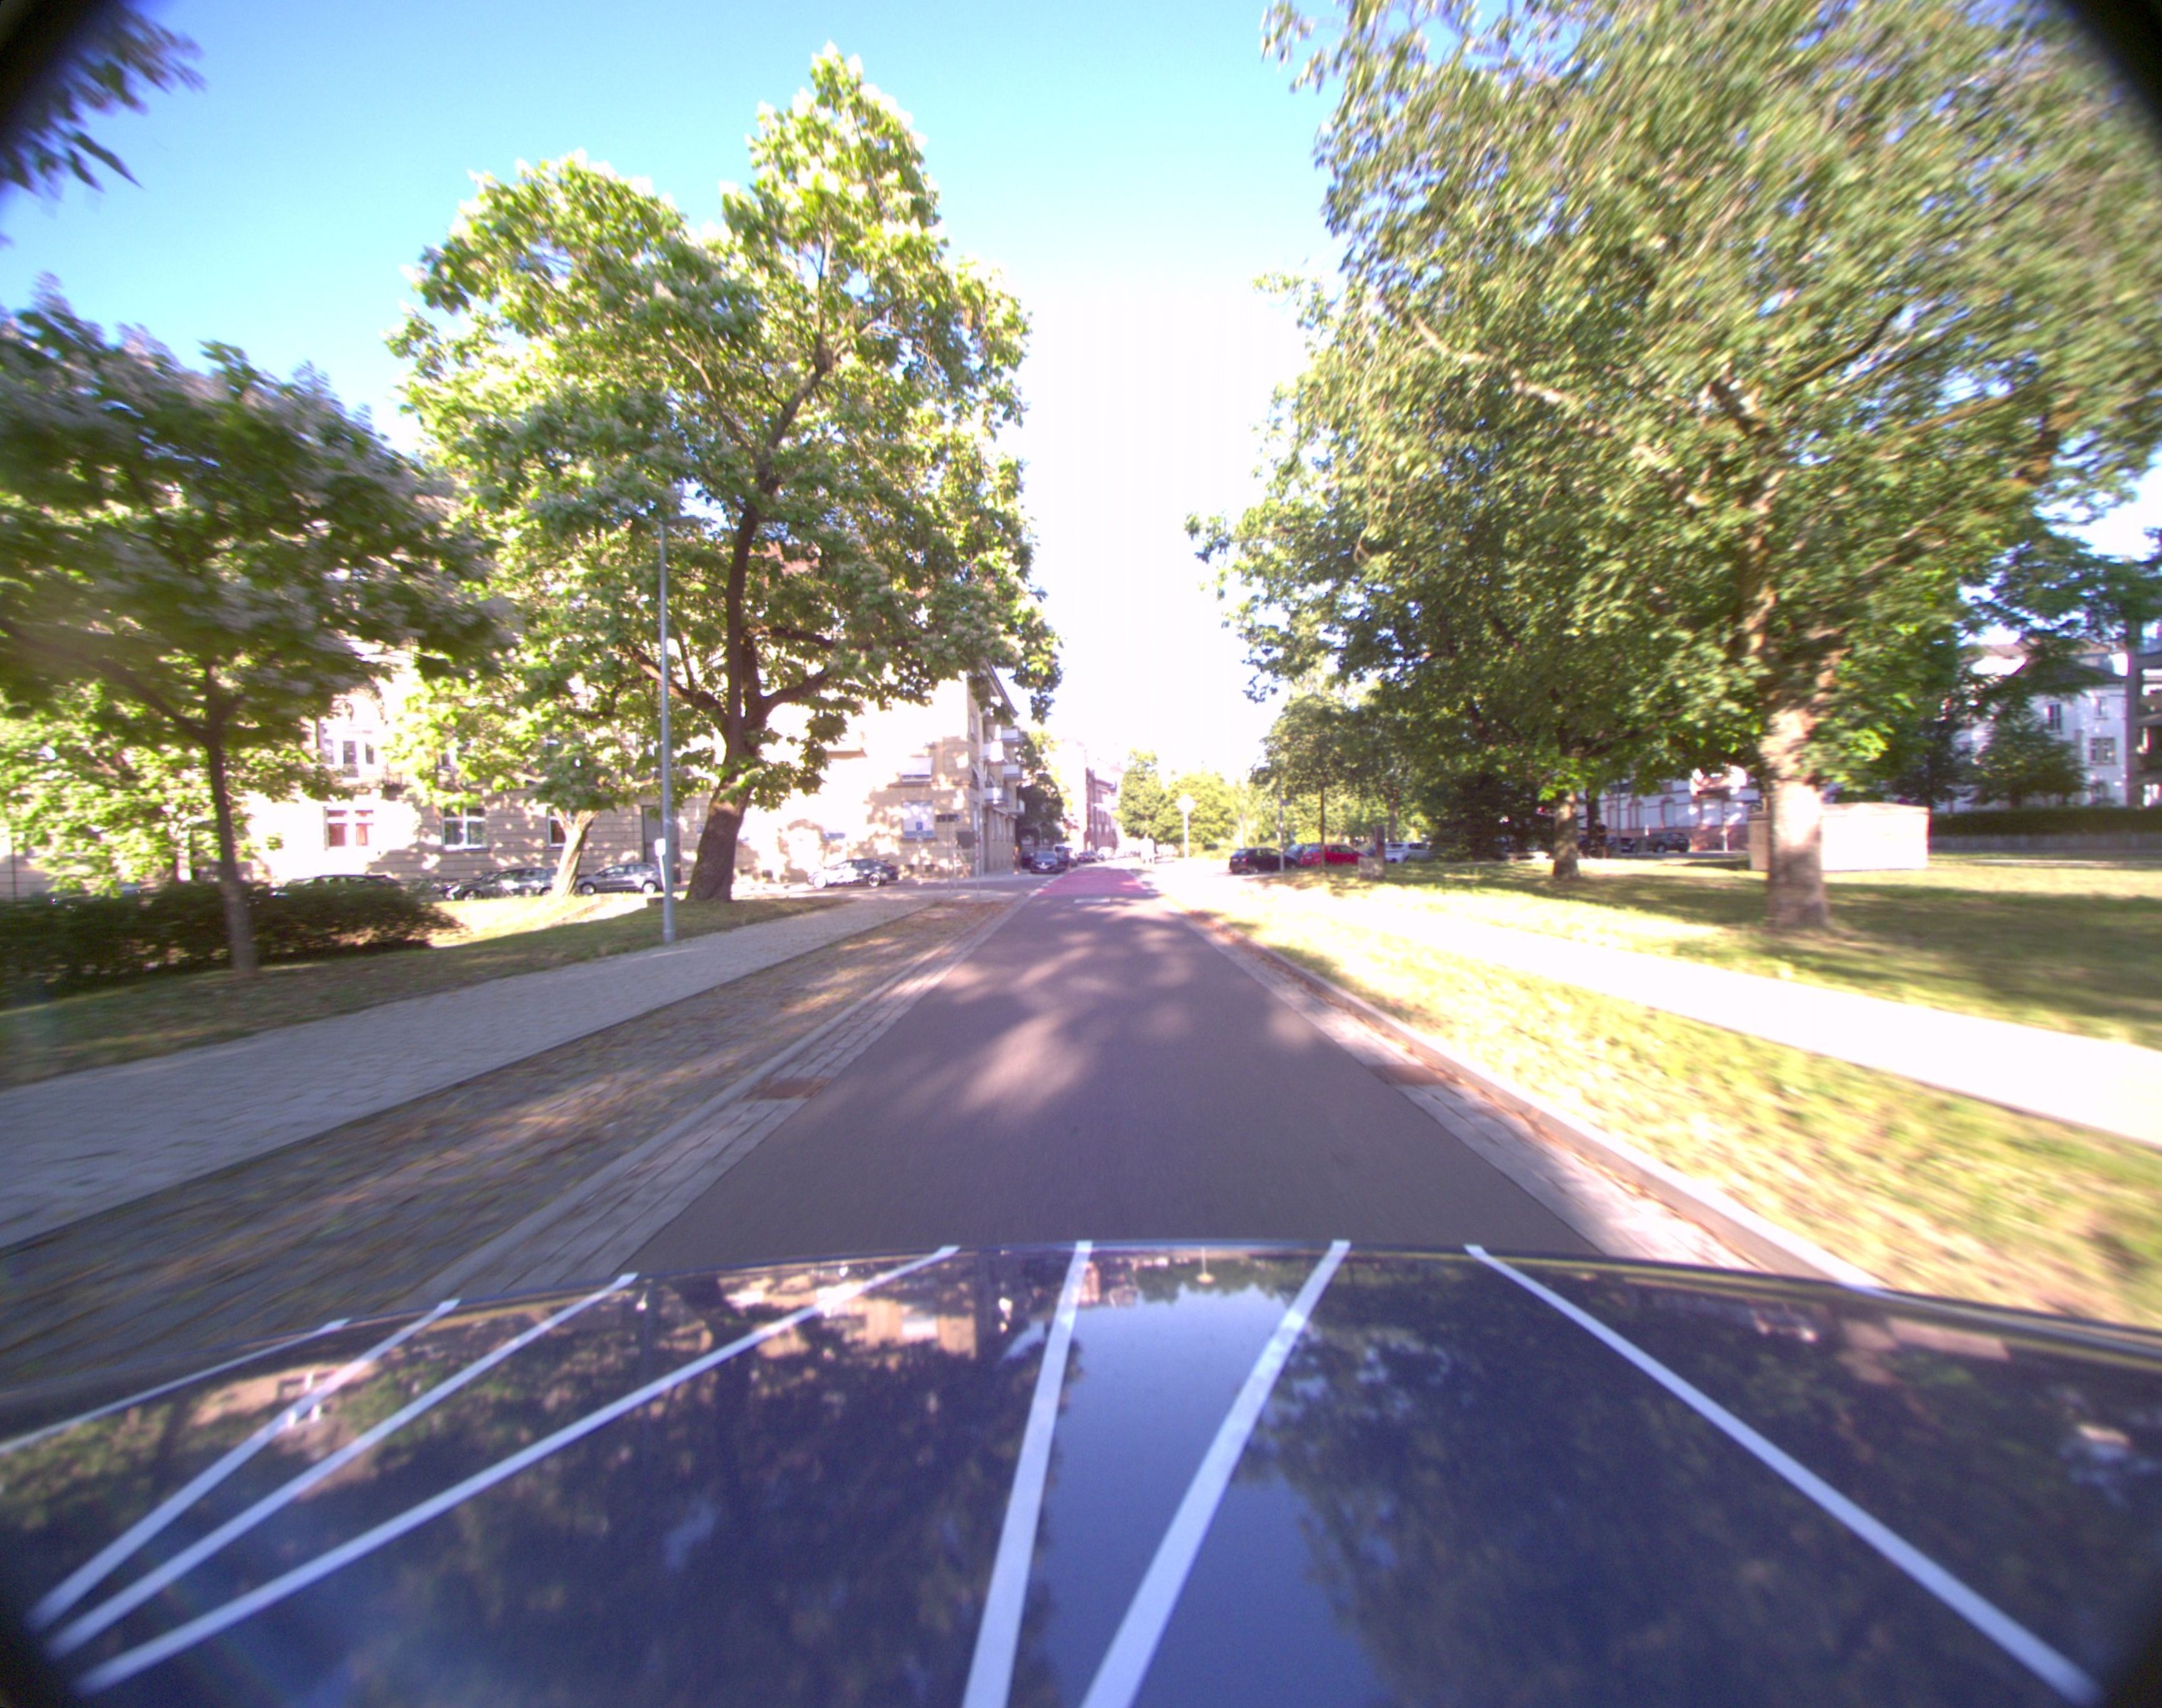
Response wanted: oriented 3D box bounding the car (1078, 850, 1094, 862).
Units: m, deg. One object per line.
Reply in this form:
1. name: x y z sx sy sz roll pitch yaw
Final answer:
1. car: 0.604 0.269 96.088 1.610 1.349 3.549 -1 1 7

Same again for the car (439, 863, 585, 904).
1. car: -23.165 1.182 31.153 4.370 1.409 1.842 -2 1 -19

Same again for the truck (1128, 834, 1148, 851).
1. truck: 12.159 -2.461 160.675 3.017 3.423 7.629 -1 1 13

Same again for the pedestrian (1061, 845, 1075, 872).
1. pedestrian: -0.891 0.290 51.967 0.778 1.759 0.955 -2 1 2

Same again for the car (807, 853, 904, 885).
1. car: -11.523 0.749 39.099 4.452 1.411 1.934 -1 1 -4

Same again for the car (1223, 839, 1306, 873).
1. car: 9.790 0.085 40.546 4.004 1.565 1.886 -3 3 -24

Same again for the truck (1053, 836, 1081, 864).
1. truck: -1.263 -0.436 72.898 2.133 2.549 6.877 -1 1 3

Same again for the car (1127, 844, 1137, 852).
1. car: 10.161 -1.127 151.193 1.582 1.499 3.848 -1 1 8

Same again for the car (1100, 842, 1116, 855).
1. car: 4.487 -0.877 124.441 2.118 1.942 4.763 -1 1 8

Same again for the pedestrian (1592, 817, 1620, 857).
1. pedestrian: 22.476 -0.714 32.542 0.664 1.686 0.672 -3 1 -8

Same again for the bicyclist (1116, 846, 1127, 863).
1. bicyclist: 4.230 0.016 79.133 0.939 1.693 0.906 -2 1 7

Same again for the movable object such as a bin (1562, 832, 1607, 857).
1. movable object such as a bin: 21.471 -0.407 32.415 1.333 0.984 0.949 -2 1 -9

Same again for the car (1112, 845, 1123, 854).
1. car: 6.511 -0.831 133.486 1.582 1.499 3.848 -1 1 8

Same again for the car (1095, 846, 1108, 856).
1. car: 3.005 -0.451 112.037 1.509 1.438 3.731 -1 1 7

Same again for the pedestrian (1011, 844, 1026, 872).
1. pedestrian: -4.281 0.267 51.812 0.733 1.820 0.555 -3 1 -35

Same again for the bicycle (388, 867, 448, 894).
1. bicycle: -33.242 1.303 38.113 2.126 1.223 0.613 -2 2 -23

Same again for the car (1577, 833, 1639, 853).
1. car: 43.767 -0.952 63.142 3.988 1.565 1.894 1 4 45

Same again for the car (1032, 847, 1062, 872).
1. car: -2.243 0.370 50.936 1.707 1.616 4.348 1 0 1

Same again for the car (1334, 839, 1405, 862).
1. car: 19.130 -0.260 50.413 4.280 1.393 1.836 -2 1 -21

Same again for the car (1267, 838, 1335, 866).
1. car: 14.051 -0.153 48.471 3.851 1.622 1.836 -2 2 -23

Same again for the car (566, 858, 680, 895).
1. car: -22.462 1.051 37.449 4.456 1.591 1.800 -2 1 -17

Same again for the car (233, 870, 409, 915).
1. car: -28.845 1.416 29.022 4.443 1.409 1.563 -2 2 -22

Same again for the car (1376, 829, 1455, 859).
1. car: 19.441 -0.603 44.137 4.003 1.565 1.887 -3 3 -20

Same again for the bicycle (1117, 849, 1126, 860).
1. bicycle: 4.251 0.041 79.250 0.739 1.129 2.105 -2 1 7

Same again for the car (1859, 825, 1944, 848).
1. car: 59.099 -1.277 54.767 3.997 1.565 1.890 -2 3 1

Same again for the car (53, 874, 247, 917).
1. car: -38.197 1.657 31.381 4.657 1.409 1.815 -2 2 -30

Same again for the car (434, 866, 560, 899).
1. car: -27.505 1.318 35.954 4.458 1.317 1.502 -2 1 -21

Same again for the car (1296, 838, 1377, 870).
1. car: 14.197 -0.042 42.230 4.004 1.565 1.886 -3 3 -24
